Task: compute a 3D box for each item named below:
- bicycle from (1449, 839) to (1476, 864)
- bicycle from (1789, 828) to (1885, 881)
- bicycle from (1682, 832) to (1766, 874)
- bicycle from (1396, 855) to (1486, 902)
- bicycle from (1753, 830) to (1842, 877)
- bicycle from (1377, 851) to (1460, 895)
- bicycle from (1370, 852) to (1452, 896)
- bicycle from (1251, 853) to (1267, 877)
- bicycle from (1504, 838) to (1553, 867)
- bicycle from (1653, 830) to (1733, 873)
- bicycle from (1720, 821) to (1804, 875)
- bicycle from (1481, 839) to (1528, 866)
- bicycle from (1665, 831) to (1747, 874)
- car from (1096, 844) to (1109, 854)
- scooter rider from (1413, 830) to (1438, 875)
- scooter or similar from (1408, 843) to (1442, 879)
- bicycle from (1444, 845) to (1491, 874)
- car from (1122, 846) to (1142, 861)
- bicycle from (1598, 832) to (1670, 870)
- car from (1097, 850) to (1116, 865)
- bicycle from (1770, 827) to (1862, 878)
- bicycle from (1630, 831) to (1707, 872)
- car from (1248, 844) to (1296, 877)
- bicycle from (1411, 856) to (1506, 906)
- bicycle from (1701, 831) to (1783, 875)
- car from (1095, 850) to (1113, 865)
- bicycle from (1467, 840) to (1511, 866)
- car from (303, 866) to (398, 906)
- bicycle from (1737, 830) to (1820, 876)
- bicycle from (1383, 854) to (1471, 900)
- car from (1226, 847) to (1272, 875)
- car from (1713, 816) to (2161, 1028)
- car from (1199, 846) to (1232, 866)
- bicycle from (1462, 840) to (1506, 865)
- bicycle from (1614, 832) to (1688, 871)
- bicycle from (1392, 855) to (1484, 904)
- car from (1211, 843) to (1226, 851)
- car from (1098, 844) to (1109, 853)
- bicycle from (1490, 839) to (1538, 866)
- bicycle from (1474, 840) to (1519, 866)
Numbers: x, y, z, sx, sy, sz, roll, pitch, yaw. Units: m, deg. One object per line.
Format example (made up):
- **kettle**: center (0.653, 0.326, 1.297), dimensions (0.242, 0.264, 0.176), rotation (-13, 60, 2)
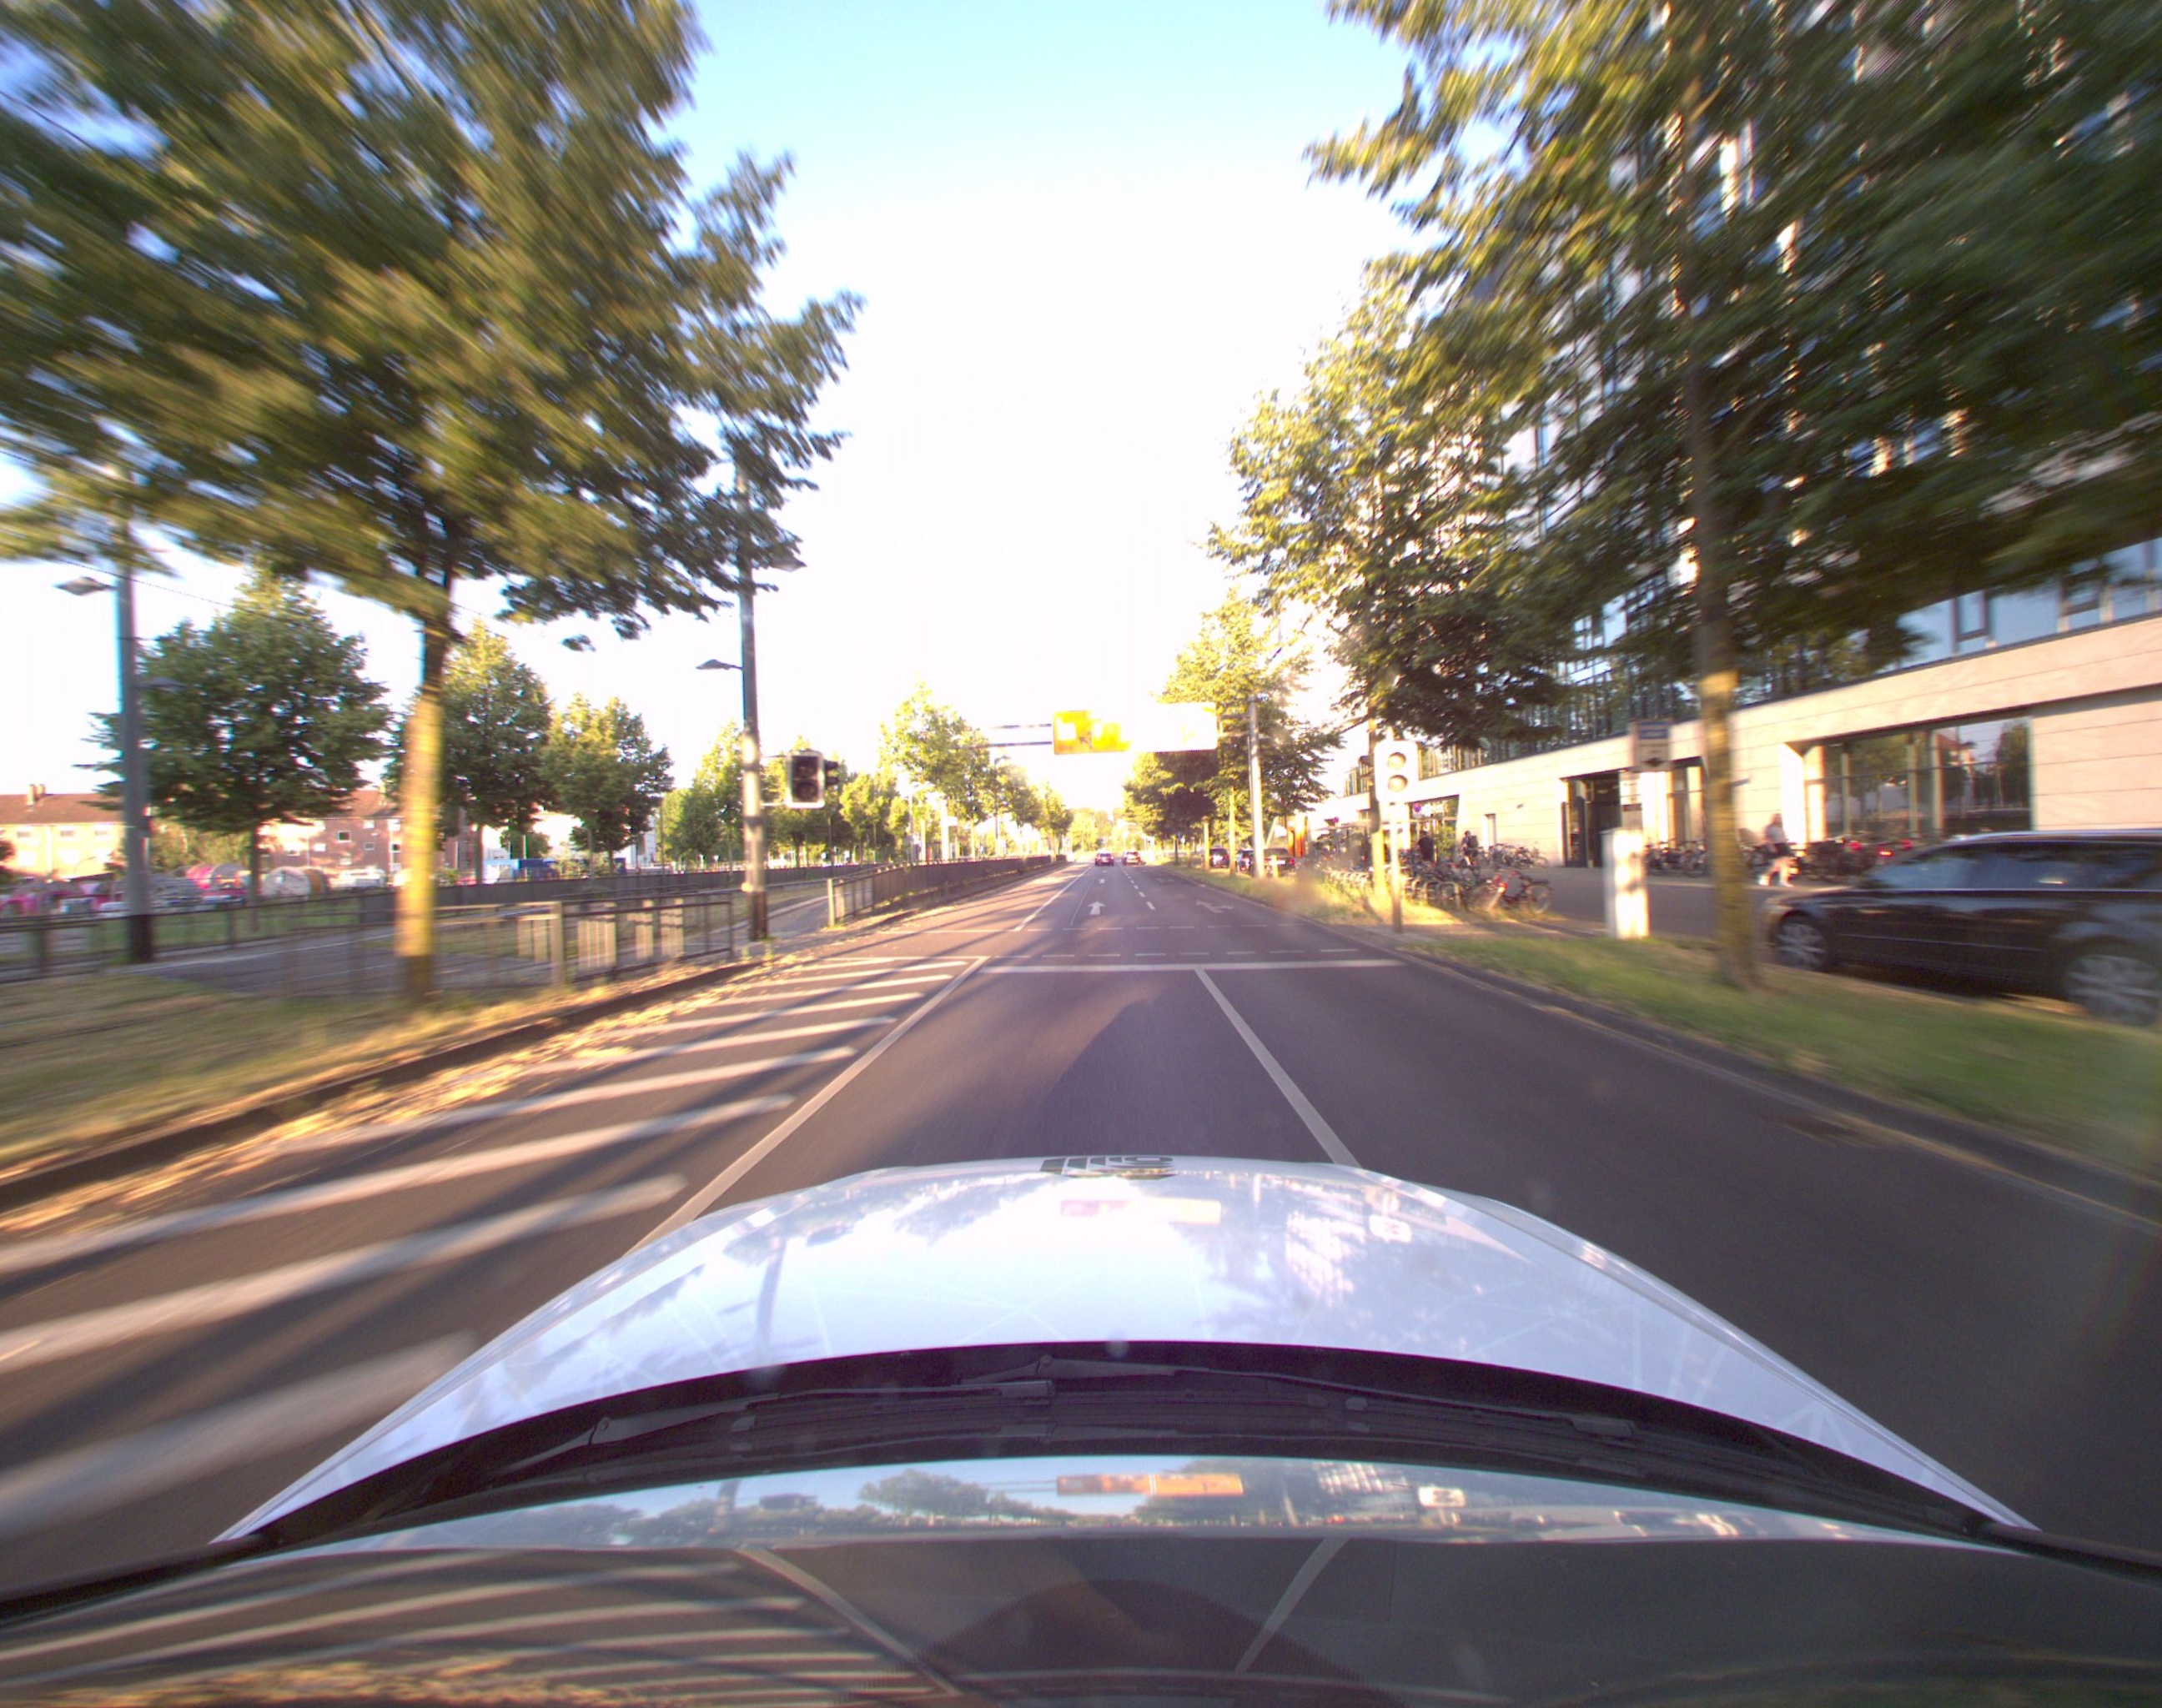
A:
- **bicycle**: center (19.556, -0.142, 41.754), dimensions (0.467, 1.208, 2.266), rotation (-2, 0, 6)
- **bicycle**: center (18.040, 0.002, 19.455), dimensions (1.825, 1.177, 0.503), rotation (-2, 0, -2)
- **bicycle**: center (18.050, -0.036, 22.881), dimensions (1.977, 1.100, 0.503), rotation (-2, 0, -2)
- **bicycle**: center (8.429, 0.565, 19.078), dimensions (1.941, 1.054, 0.543), rotation (1, 0, -9)
- **bicycle**: center (18.166, -0.011, 20.652), dimensions (1.825, 1.113, 0.503), rotation (-2, 0, -2)
- **bicycle**: center (8.379, 0.474, 20.224), dimensions (1.939, 1.054, 0.408), rotation (1, 0, -6)
- **bicycle**: center (8.368, 0.498, 20.659), dimensions (1.939, 1.054, 0.408), rotation (1, 0, -6)
- **bicycle**: center (7.551, 0.448, 34.568), dimensions (0.317, 0.980, 1.848), rotation (-2, 0, 3)
- **bicycle**: center (18.608, -0.057, 33.860), dimensions (1.780, 1.104, 0.508), rotation (-2, 0, -4)
- **bicycle**: center (18.135, -0.081, 24.146), dimensions (1.977, 1.182, 0.503), rotation (-2, 0, -2)
- **bicycle**: center (18.089, -0.164, 21.643), dimensions (1.825, 1.357, 0.503), rotation (-2, 0, -2)
- **bicycle**: center (18.644, -0.071, 35.873), dimensions (1.780, 1.104, 0.508), rotation (-2, 0, -4)
- **bicycle**: center (18.073, -0.044, 23.553), dimensions (1.977, 1.141, 0.503), rotation (-2, 0, -2)
- **car**: center (3.335, -0.816, 125.801), dimensions (1.905, 1.486, 4.001), rotation (-2, 0, 1)
- **scooter rider**: center (12.885, -0.060, 30.456), dimensions (0.524, 1.638, 0.832), rotation (-2, 0, -1)
- **scooter or similar**: center (12.892, 0.252, 30.597), dimensions (0.524, 1.310, 1.664), rotation (-2, 0, 0)
- **bicycle**: center (14.949, 0.208, 31.568), dimensions (0.769, 1.079, 2.063), rotation (-2, 0, 0)
- **car**: center (5.401, -0.085, 86.922), dimensions (1.905, 1.486, 4.001), rotation (-2, 0, 1)
- **bicycle**: center (17.873, -0.095, 26.330), dimensions (1.977, 1.141, 0.503), rotation (-2, 0, -2)
- **car**: center (2.663, 0.378, 84.840), dimensions (1.905, 1.486, 4.001), rotation (-2, 0, 1)
- **bicycle**: center (18.073, -0.031, 20.033), dimensions (1.825, 1.177, 0.503), rotation (-2, 0, -2)
- **bicycle**: center (18.003, -0.087, 24.973), dimensions (1.977, 1.168, 0.503), rotation (-2, 0, -2)
- **car**: center (9.348, 0.304, 40.162), dimensions (1.569, 1.472, 3.884), rotation (-2, 0, 2)
- **bicycle**: center (8.235, 0.587, 17.764), dimensions (1.944, 1.054, 0.543), rotation (1, 0, -14)
- **bicycle**: center (18.002, -0.033, 22.196), dimensions (1.825, 1.121, 0.503), rotation (-2, 0, -2)
- **car**: center (2.560, 0.366, 91.311), dimensions (1.905, 1.486, 4.001), rotation (-2, 0, 1)
- **bicycle**: center (18.716, -0.051, 37.352), dimensions (1.780, 1.104, 0.508), rotation (-2, 0, -4)
- **car**: center (-45.169, 1.906, 50.568), dimensions (2.425, 2.224, 5.874), rotation (-2, 0, -22)
- **bicycle**: center (18.103, -0.034, 21.140), dimensions (1.825, 1.124, 0.372), rotation (-2, 0, -2)
- **bicycle**: center (8.373, 0.557, 19.718), dimensions (1.939, 1.054, 0.544), rotation (1, 0, -6)
- **car**: center (9.646, 0.374, 47.122), dimensions (1.772, 1.472, 4.288), rotation (-2, 0, 0)
- **car**: center (8.263, 0.421, 7.206), dimensions (1.861, 1.411, 4.649), rotation (-2, 0, 3)
- **car**: center (10.249, 0.136, 62.300), dimensions (1.751, 1.466, 4.157), rotation (-2, 0, 0)
- **bicycle**: center (18.741, -0.061, 37.907), dimensions (1.780, 1.104, 0.508), rotation (-2, 0, -4)
- **bicycle**: center (17.970, -0.086, 25.703), dimensions (1.977, 1.141, 0.503), rotation (-2, 0, -2)
- **bicycle**: center (8.037, 0.579, 18.334), dimensions (1.944, 1.054, 0.543), rotation (1, 0, -14)
- **car**: center (29.603, -1.483, 175.509), dimensions (1.975, 1.728, 4.024), rotation (-2, 0, 25)
- **car**: center (3.900, -0.968, 142.737), dimensions (1.905, 1.486, 4.001), rotation (-2, 0, 1)
- **bicycle**: center (18.736, -0.083, 35.251), dimensions (1.780, 1.104, 0.508), rotation (-2, 0, -4)
- **bicycle**: center (18.651, -0.036, 36.544), dimensions (1.780, 1.104, 0.508), rotation (-2, 0, -4)
